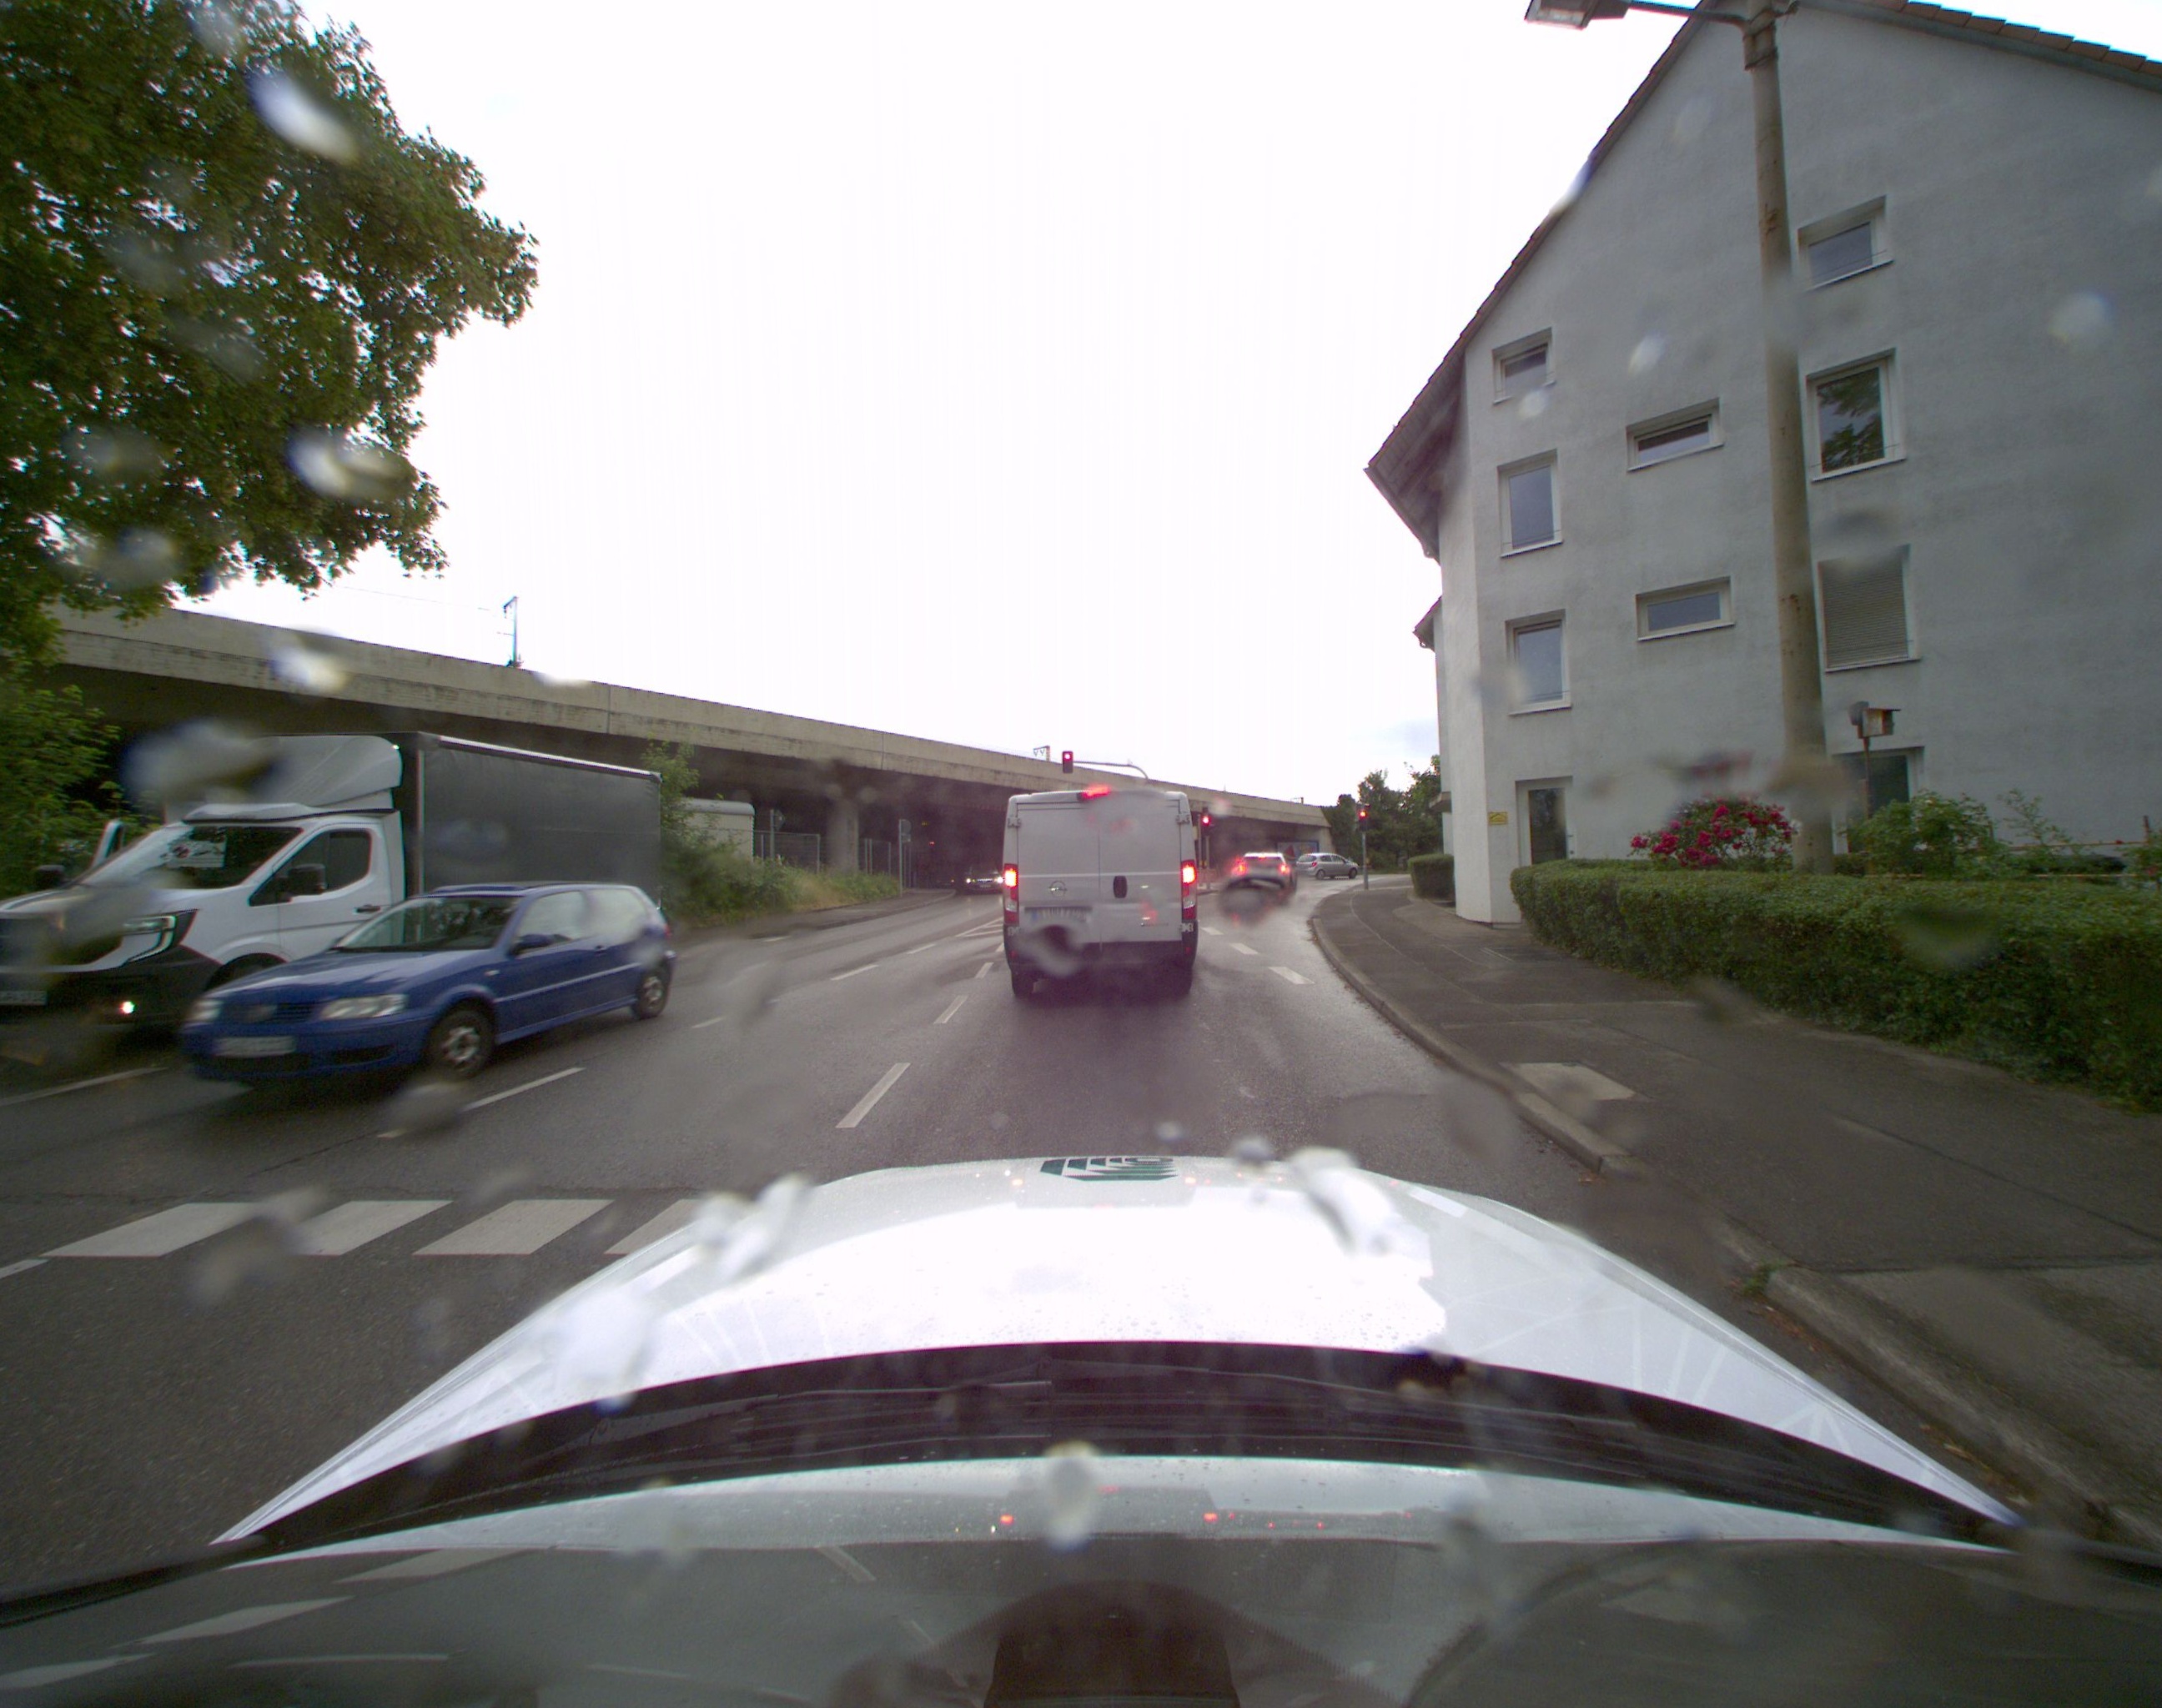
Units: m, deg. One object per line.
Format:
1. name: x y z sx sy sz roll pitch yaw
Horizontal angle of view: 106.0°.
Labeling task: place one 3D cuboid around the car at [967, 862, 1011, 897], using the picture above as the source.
1. car: -4.405 1.178 39.471 1.838 1.569 4.406 -1 -1 -4

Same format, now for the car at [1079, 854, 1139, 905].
1. car: 1.106 0.939 30.304 1.984 1.729 4.005 -1 -2 5

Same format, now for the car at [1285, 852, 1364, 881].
1. car: 13.616 0.686 45.485 4.011 1.554 1.981 0 -2 -29

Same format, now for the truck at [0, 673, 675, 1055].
1. truck: -8.899 0.157 10.859 2.598 3.237 7.784 -1 -1 4

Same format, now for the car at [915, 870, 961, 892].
1. car: -10.476 1.950 59.506 2.007 1.519 3.959 0 -2 -32

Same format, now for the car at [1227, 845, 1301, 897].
1. car: 6.078 0.567 26.687 1.978 1.549 4.018 -2 -2 17

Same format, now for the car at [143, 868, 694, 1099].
1. car: -5.178 0.876 7.114 1.590 1.426 3.701 -1 0 4

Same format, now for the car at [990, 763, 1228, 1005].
1. car: 0.395 0.297 10.888 2.296 2.343 5.285 -3 0 2
